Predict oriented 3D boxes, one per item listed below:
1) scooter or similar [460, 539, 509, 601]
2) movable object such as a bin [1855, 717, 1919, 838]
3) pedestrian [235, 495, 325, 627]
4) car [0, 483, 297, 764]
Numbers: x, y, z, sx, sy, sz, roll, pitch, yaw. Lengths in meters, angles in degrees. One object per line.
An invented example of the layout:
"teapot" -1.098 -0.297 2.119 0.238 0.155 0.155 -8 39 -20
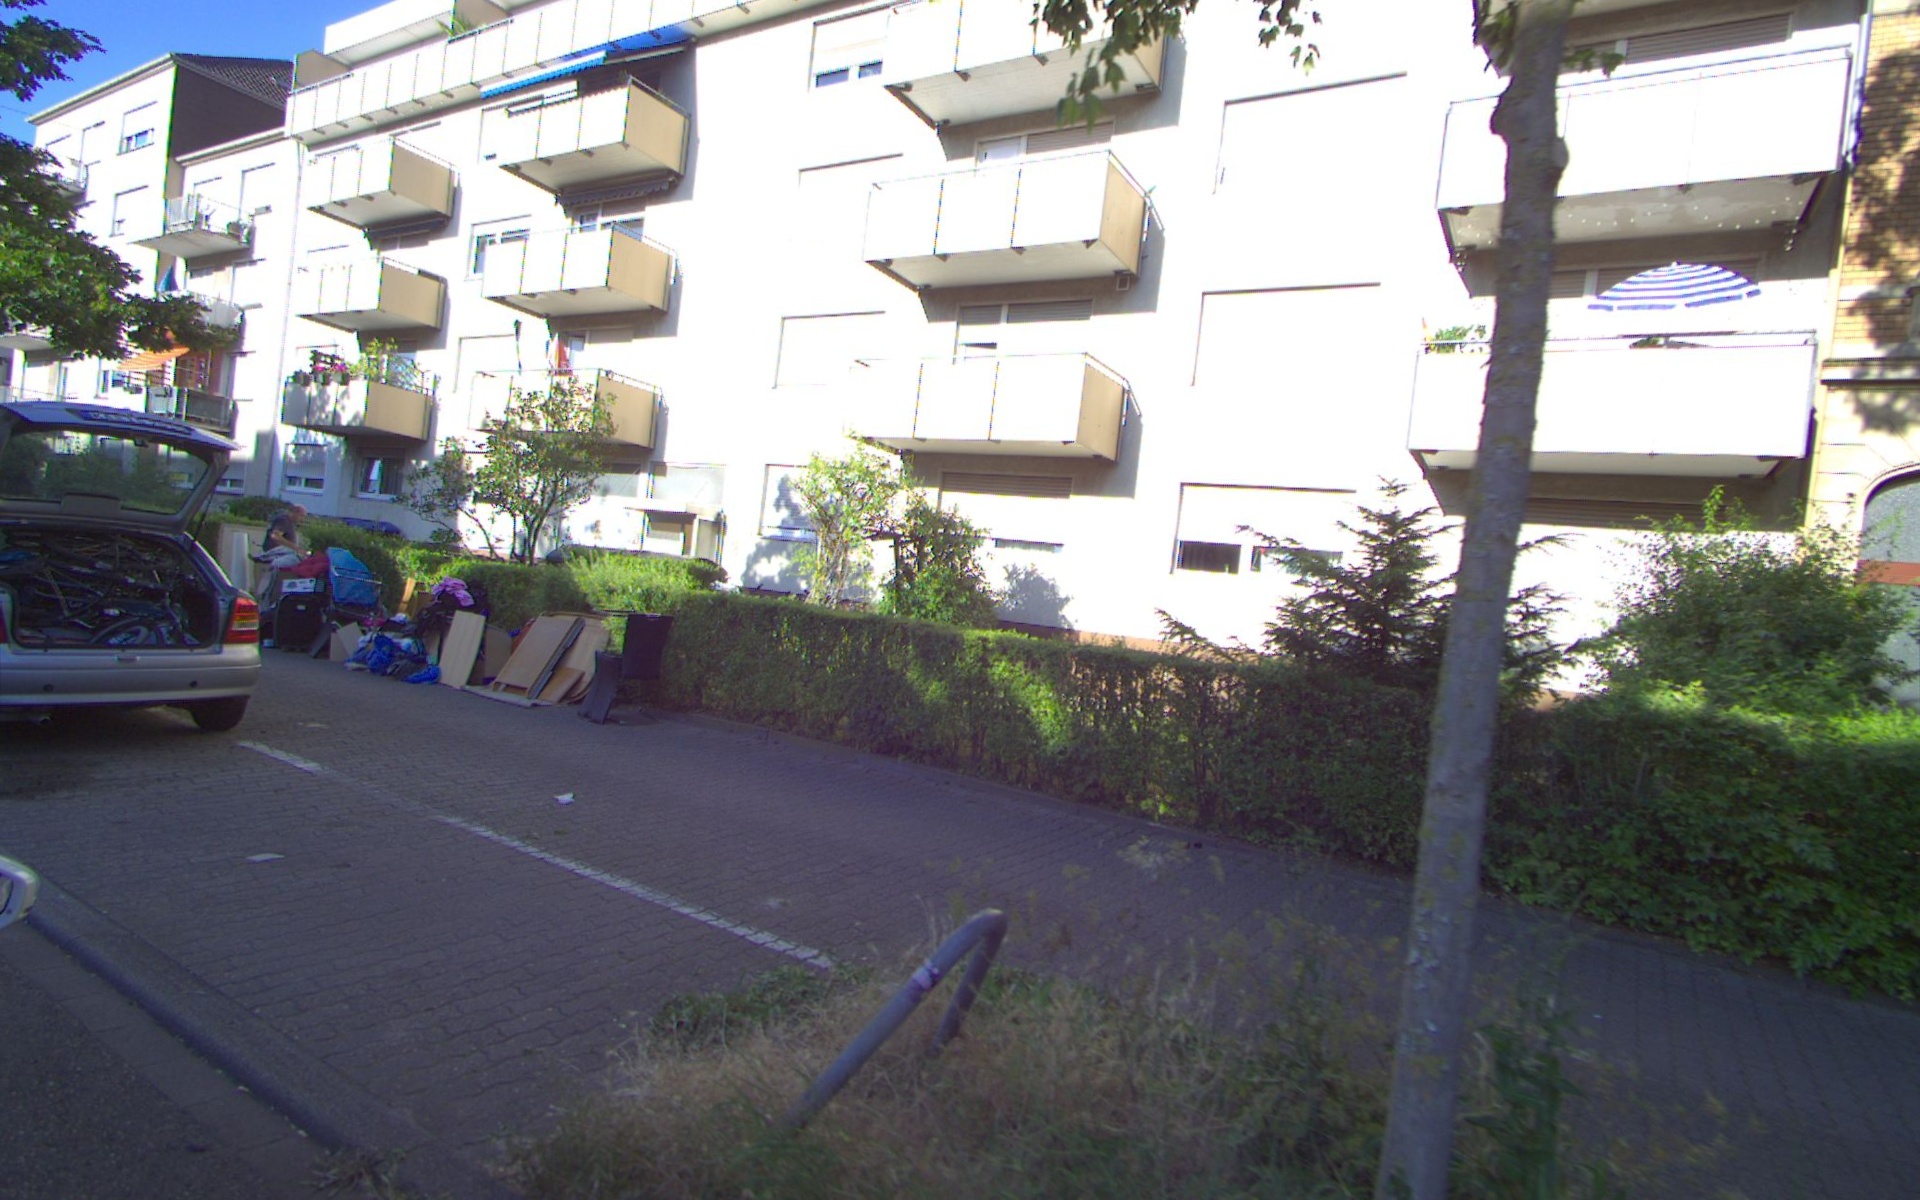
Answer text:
"scooter or similar" -10.695 -0.682 22.626 0.658 1.288 0.615 7 1 32
"movable object such as a bin" 9.114 1.706 9.646 0.611 1.072 0.452 7 1 30
"pedestrian" -9.244 -0.522 13.712 0.747 1.660 0.692 6 1 -22
"car" -6.623 -0.045 6.989 4.197 1.500 1.709 7 2 32
